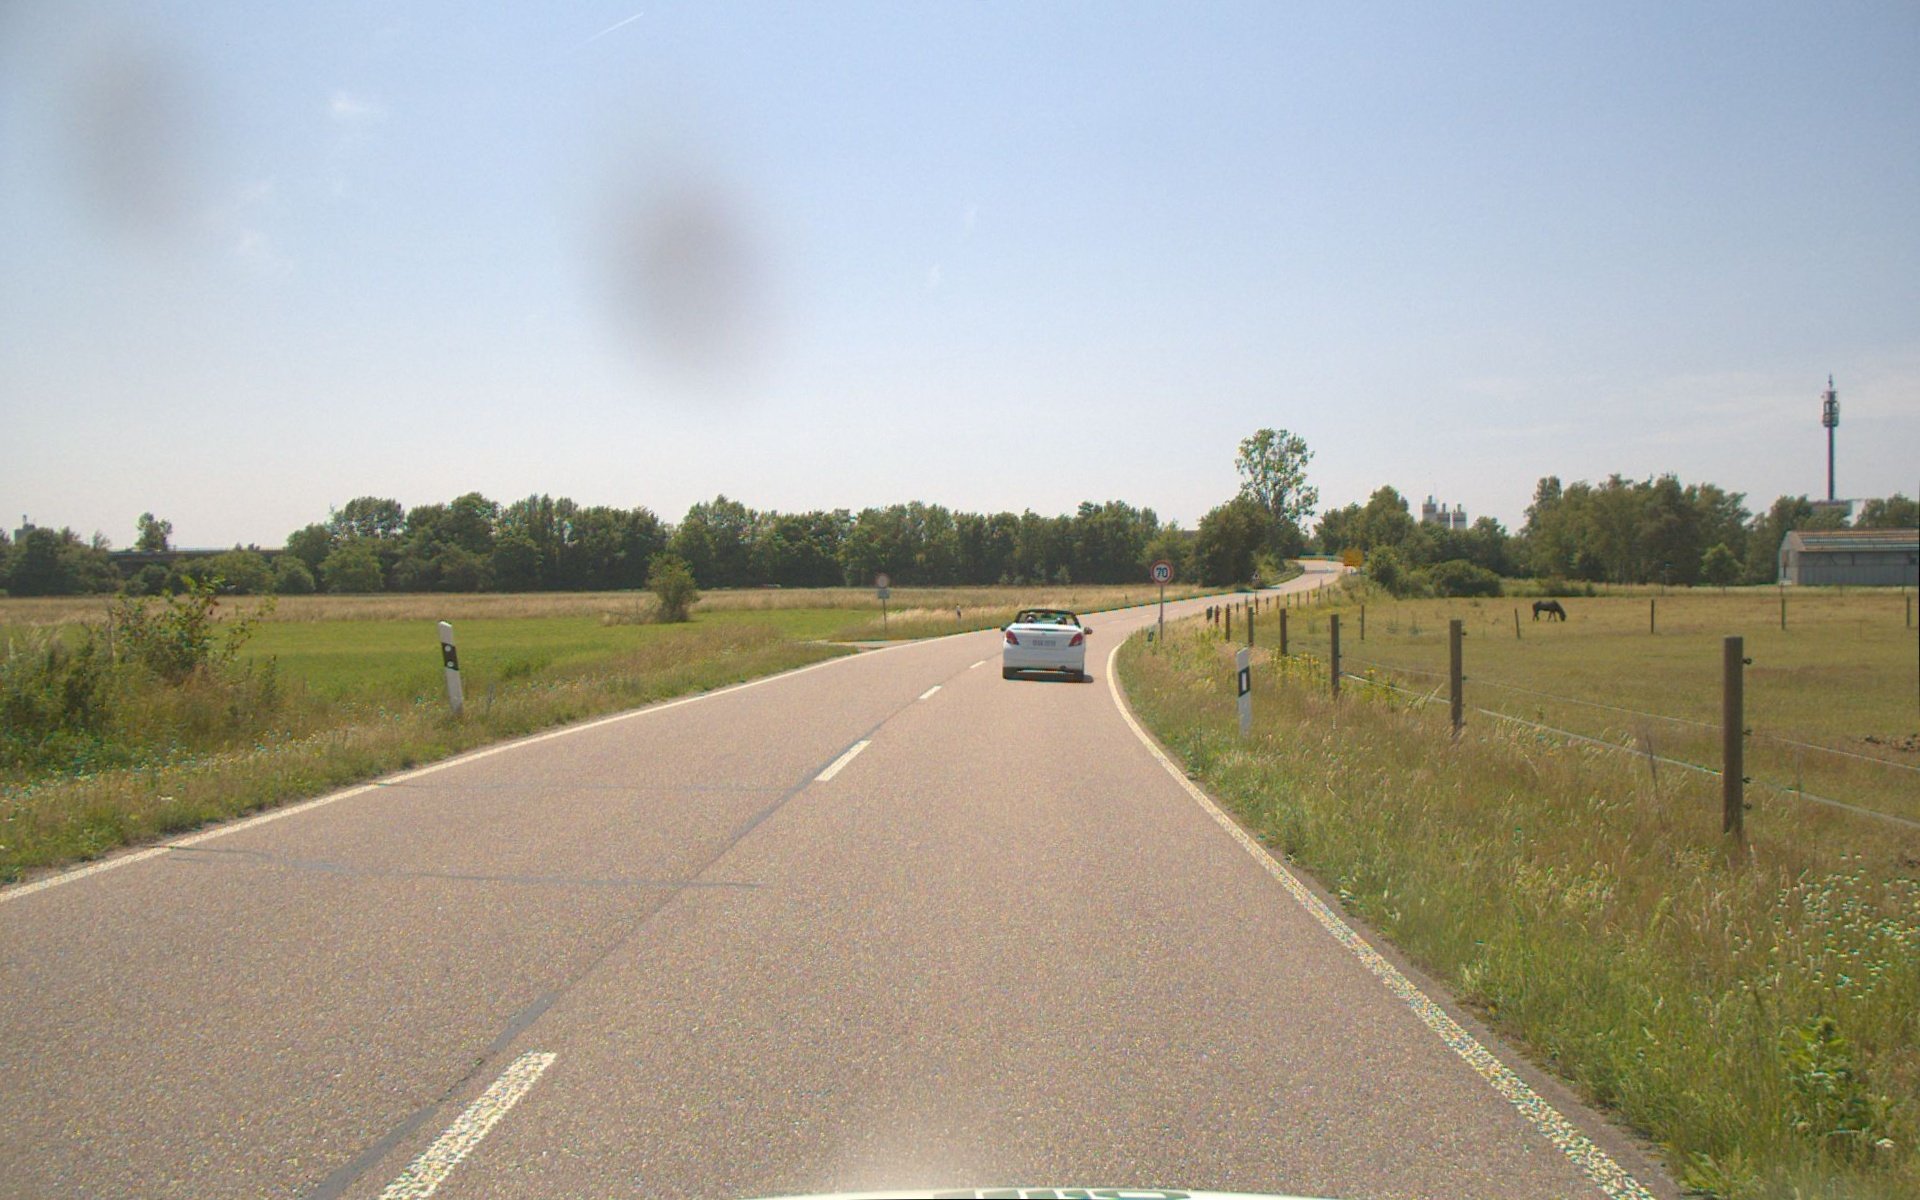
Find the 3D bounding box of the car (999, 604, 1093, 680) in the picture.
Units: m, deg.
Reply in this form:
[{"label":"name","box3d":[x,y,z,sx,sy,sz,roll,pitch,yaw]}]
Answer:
[{"label":"car","box3d":[1.786,0.830,34.544,1.812,1.403,4.001,2,0,3]}]
